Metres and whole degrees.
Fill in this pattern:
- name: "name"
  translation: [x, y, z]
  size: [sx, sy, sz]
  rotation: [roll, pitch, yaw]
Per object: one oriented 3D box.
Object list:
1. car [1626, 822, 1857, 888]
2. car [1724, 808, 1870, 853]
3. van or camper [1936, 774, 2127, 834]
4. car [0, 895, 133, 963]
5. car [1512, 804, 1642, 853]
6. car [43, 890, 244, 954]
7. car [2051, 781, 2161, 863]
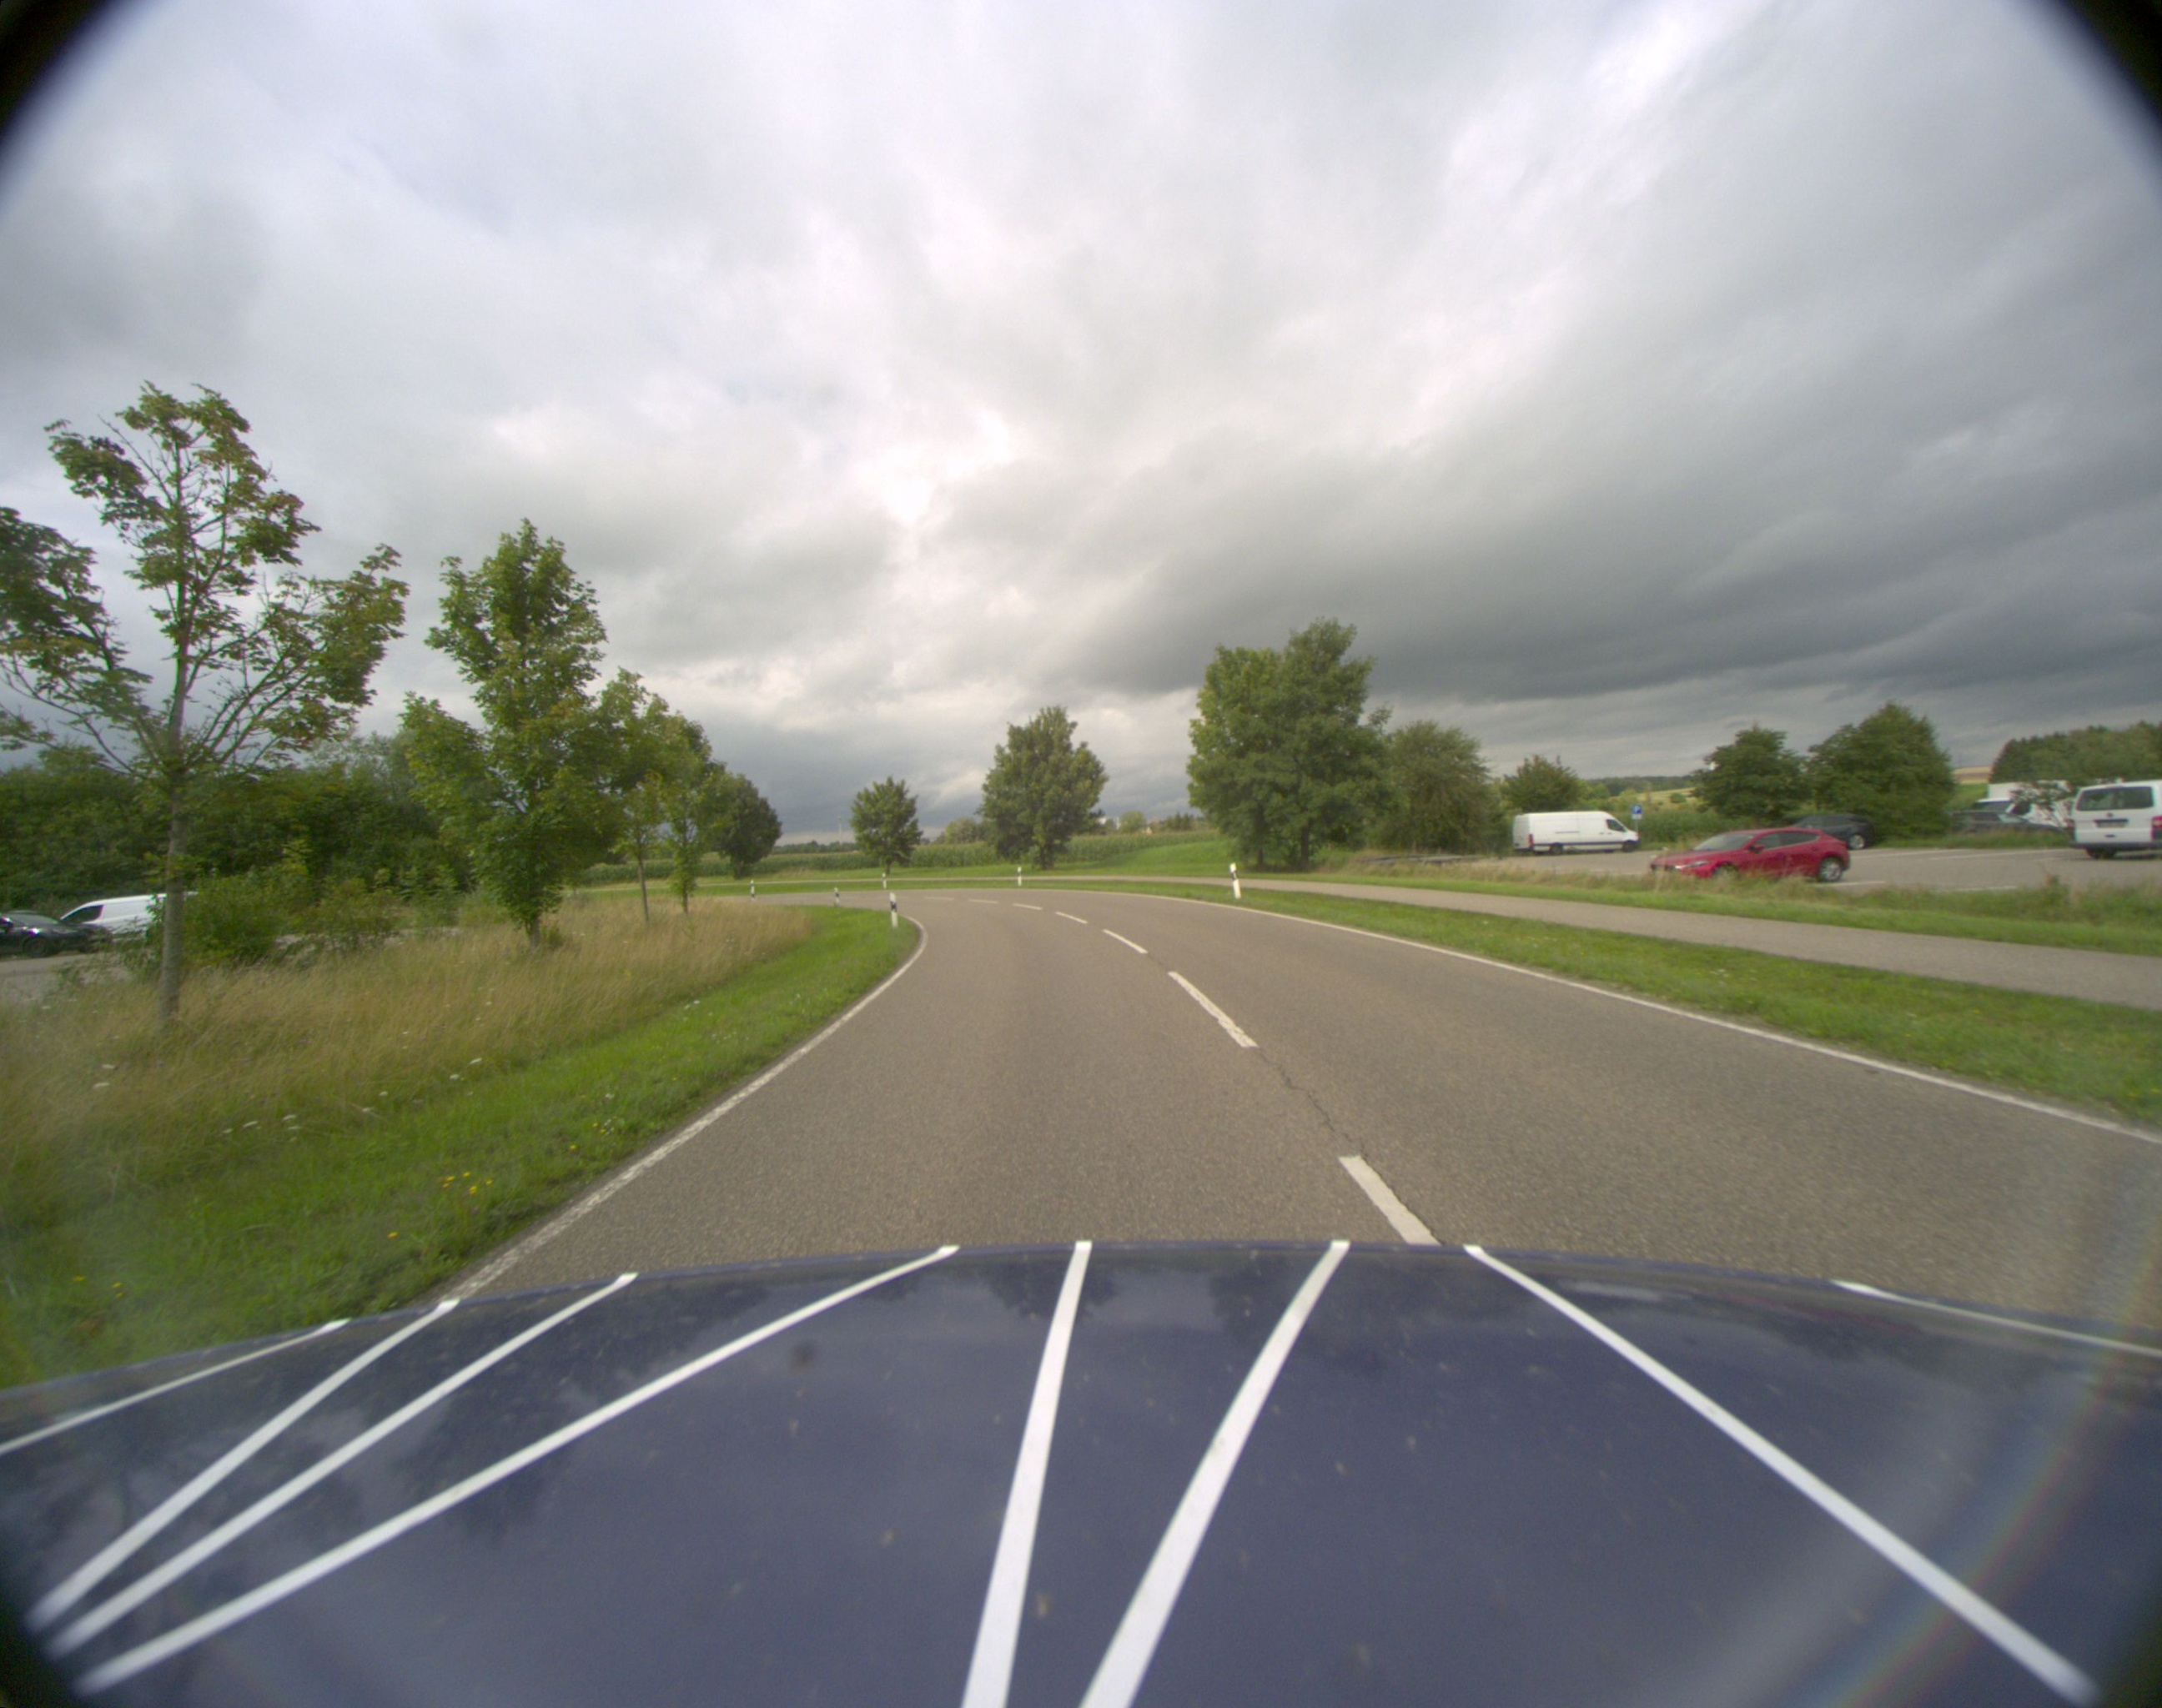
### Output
- name: "car"
  translation: [16.940, 0.025, 19.639]
  size: [4.375, 1.408, 1.813]
  rotation: [-3, 1, 0]
- name: "car"
  translation: [27.856, -0.900, 29.638]
  size: [3.997, 1.516, 1.793]
  rotation: [-3, 1, -2]
- name: "van or camper"
  translation: [45.608, -2.337, 36.588]
  size: [6.043, 2.333, 2.286]
  rotation: [-4, 1, 3]
- name: "car"
  translation: [-32.982, 2.379, 23.686]
  size: [4.001, 1.849, 1.742]
  rotation: [-3, 1, -13]
- name: "car"
  translation: [29.773, -1.503, 45.758]
  size: [6.331, 2.604, 2.201]
  rotation: [-3, 1, 0]
- name: "car"
  translation: [-32.970, 2.347, 26.880]
  size: [4.001, 1.849, 1.998]
  rotation: [-3, 1, -13]
- name: "car"
  translation: [28.214, -0.937, 19.234]
  size: [4.693, 1.915, 2.061]
  rotation: [-4, 1, -1]
